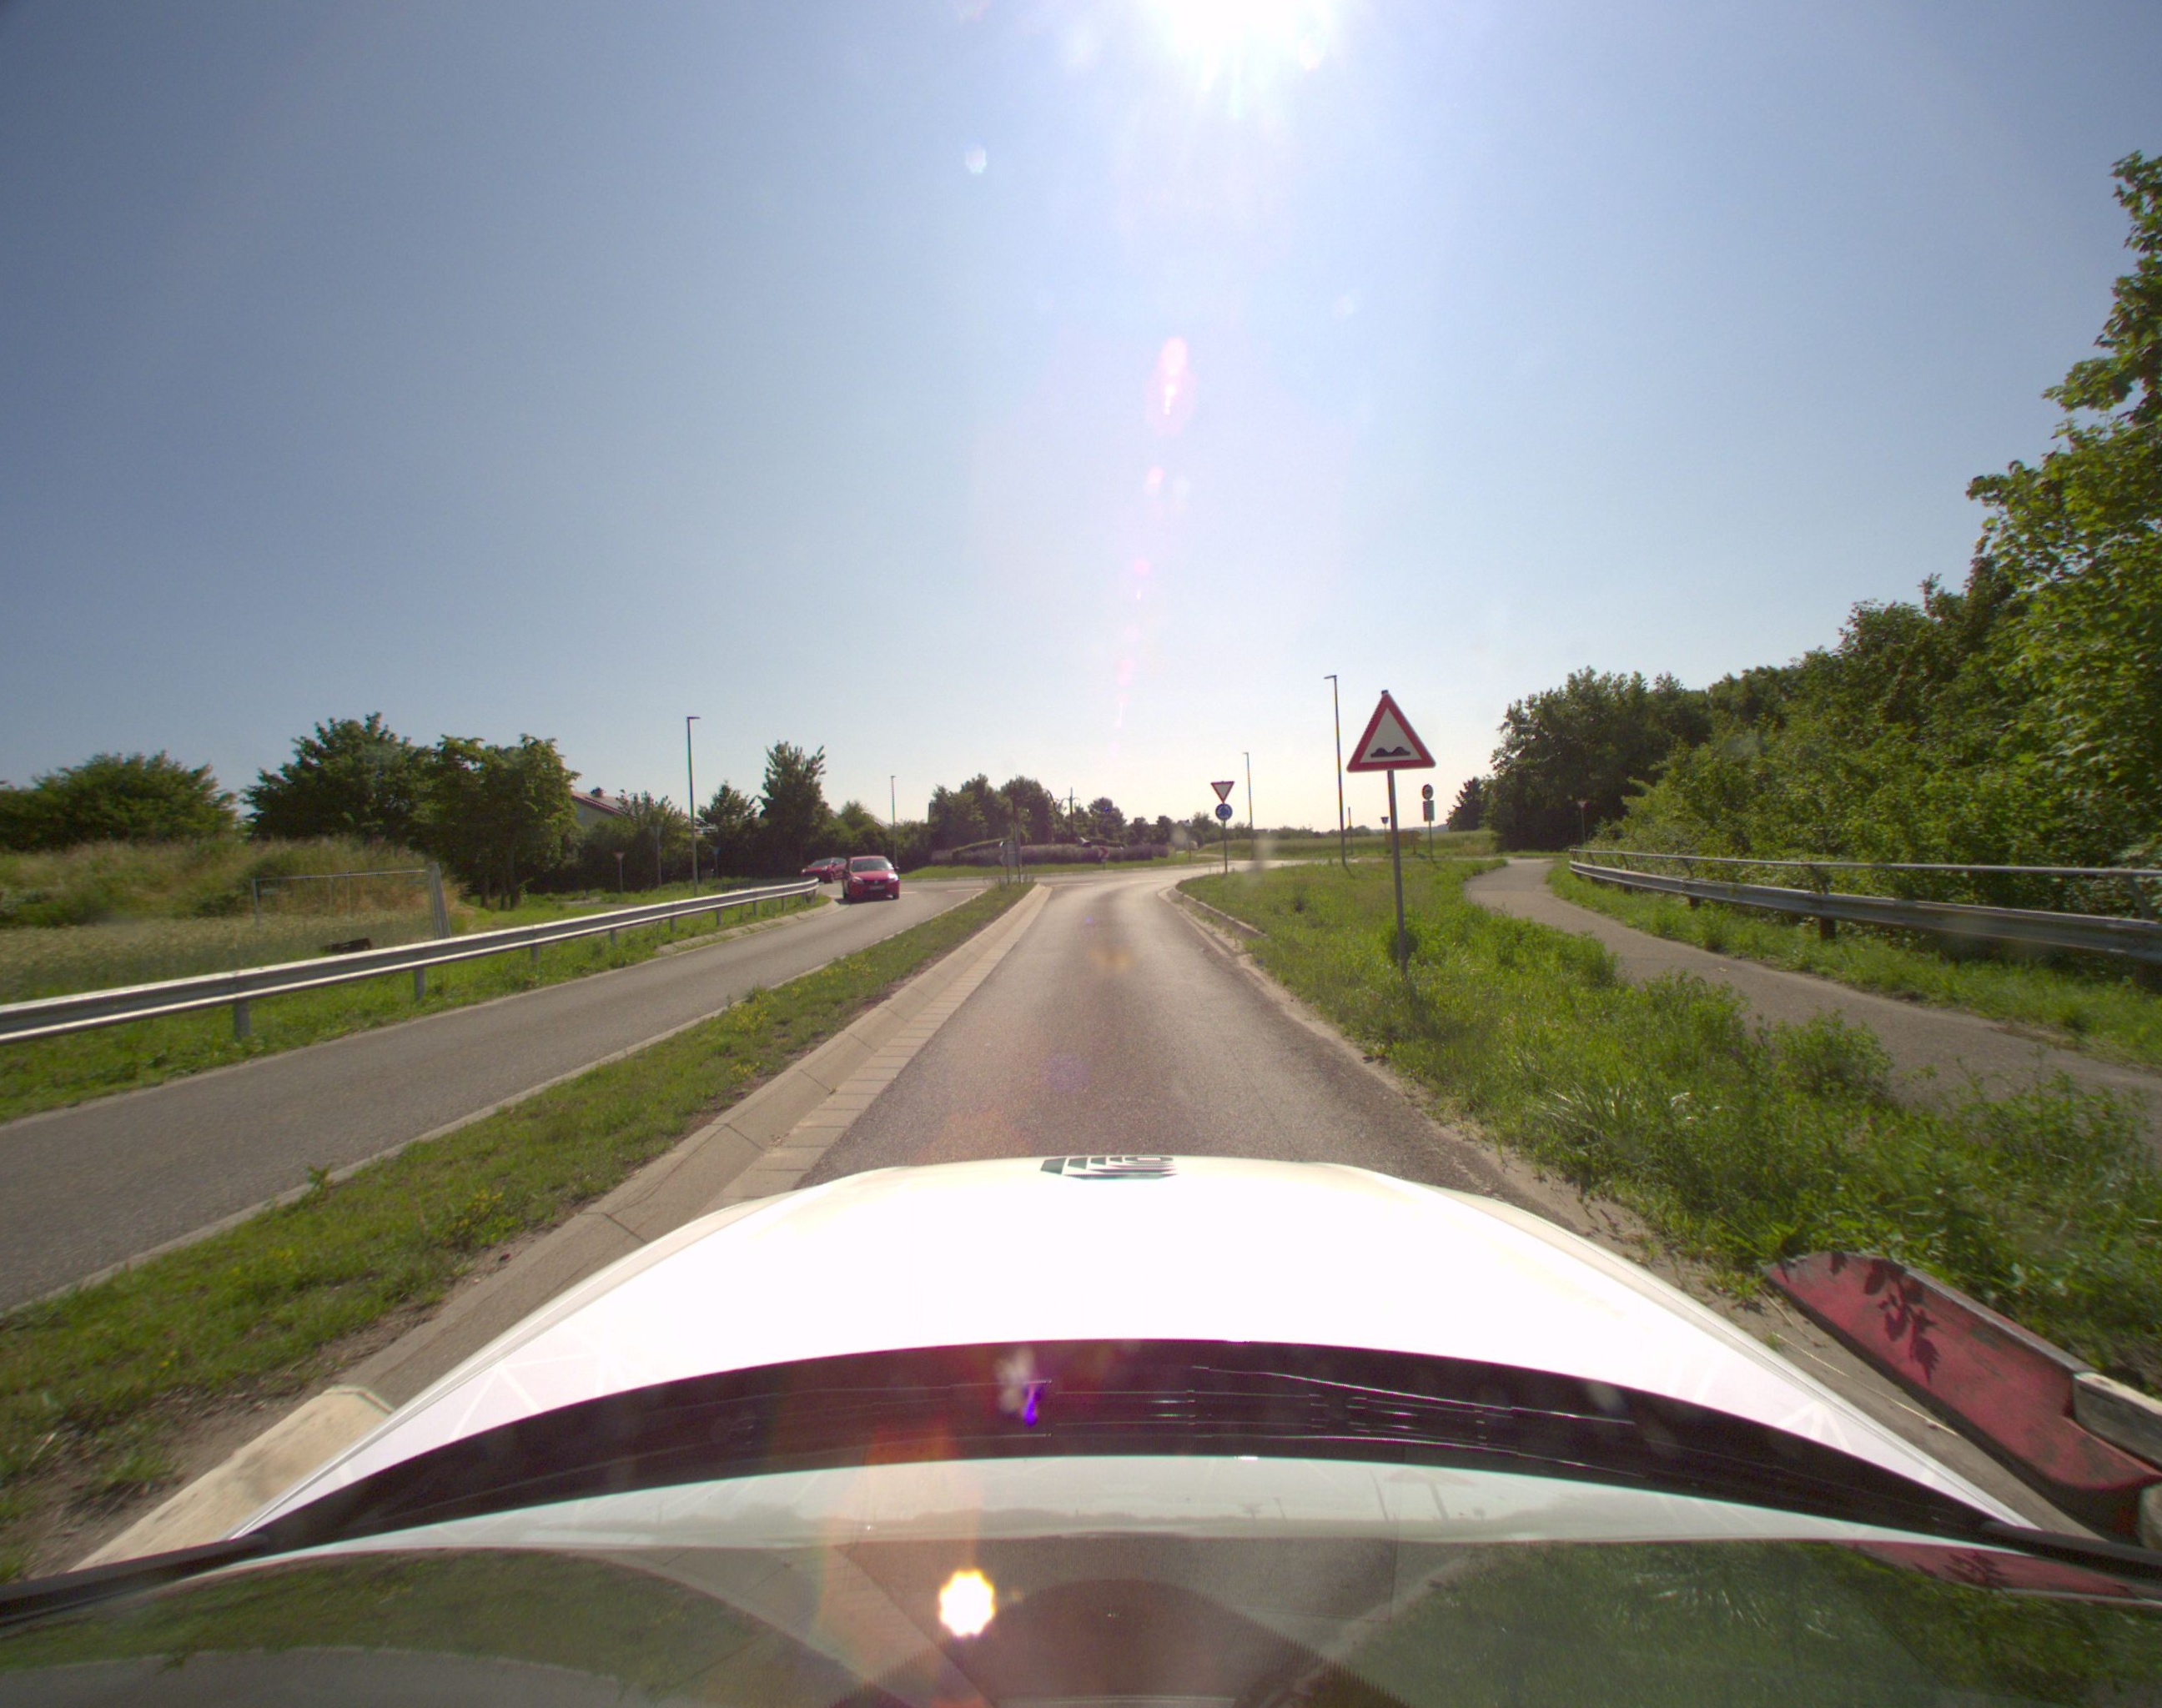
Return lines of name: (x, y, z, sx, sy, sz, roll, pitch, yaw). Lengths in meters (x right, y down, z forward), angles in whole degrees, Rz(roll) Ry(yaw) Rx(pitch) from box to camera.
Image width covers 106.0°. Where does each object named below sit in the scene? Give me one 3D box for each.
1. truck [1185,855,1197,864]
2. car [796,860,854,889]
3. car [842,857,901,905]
truck: (25.494, 1.266, 188.760, 1.978, 2.014, 4.017, -3, -1, 16)
car: (-15.381, 1.207, 49.108, 1.734, 1.522, 3.840, -4, 0, 8)
car: (-7.535, 0.961, 29.093, 1.633, 1.491, 3.777, -4, -1, -19)
